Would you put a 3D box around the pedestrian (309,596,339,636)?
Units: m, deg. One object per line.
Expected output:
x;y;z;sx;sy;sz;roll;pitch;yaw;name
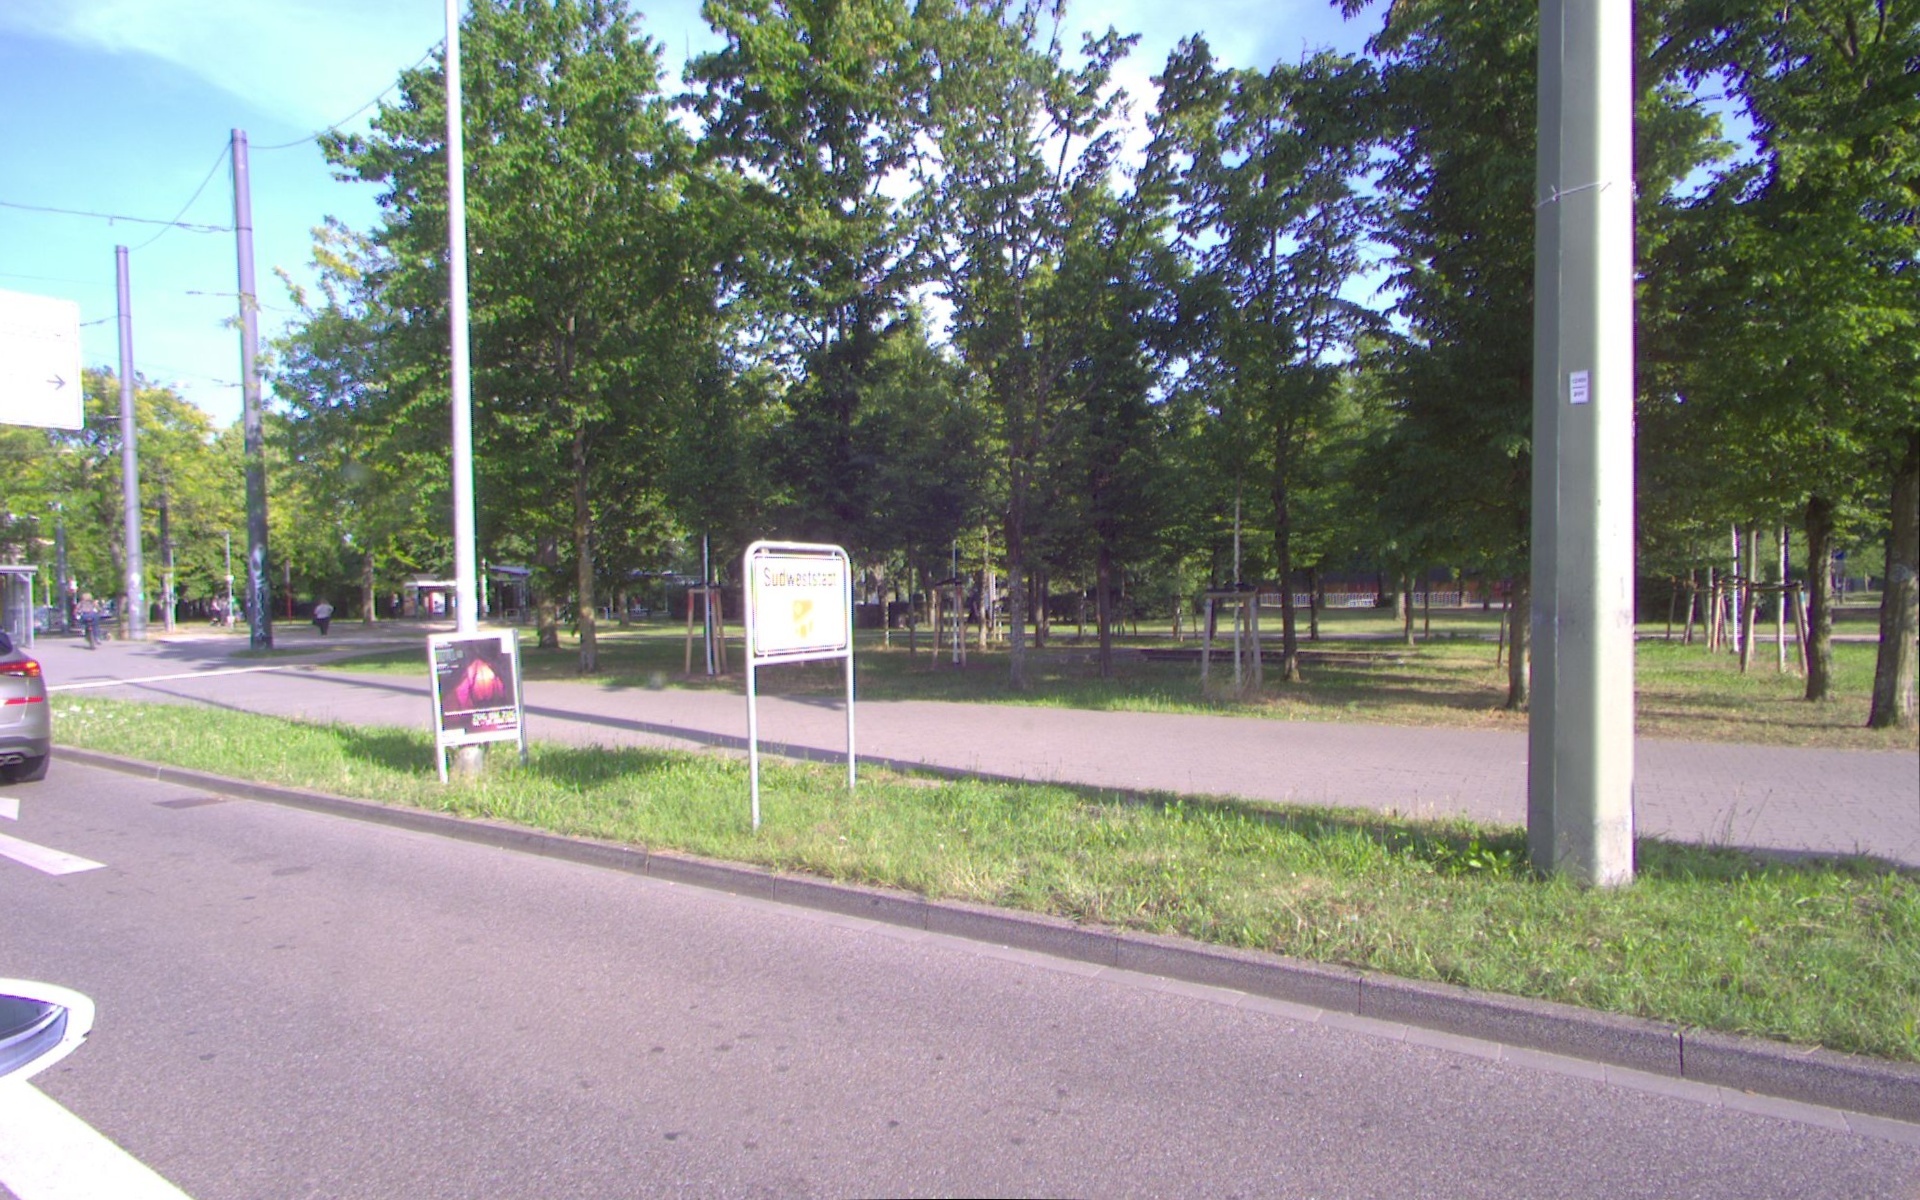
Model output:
-26.946;0.670;42.455;0.793;1.659;0.754;-1;1;-7;pedestrian

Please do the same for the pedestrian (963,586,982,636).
0.469;0.412;37.101;0.617;1.836;0.502;-1;1;6;pedestrian

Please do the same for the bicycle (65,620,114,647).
-26.087;0.991;30.006;2.138;0.767;0.494;-1;2;33;bicycle

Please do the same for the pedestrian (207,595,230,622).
-41.045;0.460;55.421;0.687;1.508;0.815;-1;1;-9;pedestrian

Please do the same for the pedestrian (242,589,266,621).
-40.265;0.293;57.134;0.826;1.809;0.798;0;1;28;pedestrian

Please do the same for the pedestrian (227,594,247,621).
-40.005;0.406;55.403;0.804;1.508;0.696;-2;1;-33;pedestrian

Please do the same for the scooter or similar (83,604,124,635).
-31.518;0.718;36.861;1.305;1.132;0.420;-1;1;13;scooter or similar

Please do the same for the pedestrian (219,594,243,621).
-41.109;0.415;56.448;0.688;1.508;0.813;0;1;22;pedestrian

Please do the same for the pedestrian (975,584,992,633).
0.888;0.322;38.044;0.617;1.836;0.502;-1;1;3;pedestrian

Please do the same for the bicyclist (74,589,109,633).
-25.952;0.323;29.924;0.856;1.279;0.533;0;1;32;bicyclist

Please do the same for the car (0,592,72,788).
-10.001;0.798;9.151;3.595;1.673;1.880;-1;1;32;car

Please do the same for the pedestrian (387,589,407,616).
-35.517;0.173;63.211;0.792;1.659;0.832;0;1;38;pedestrian
